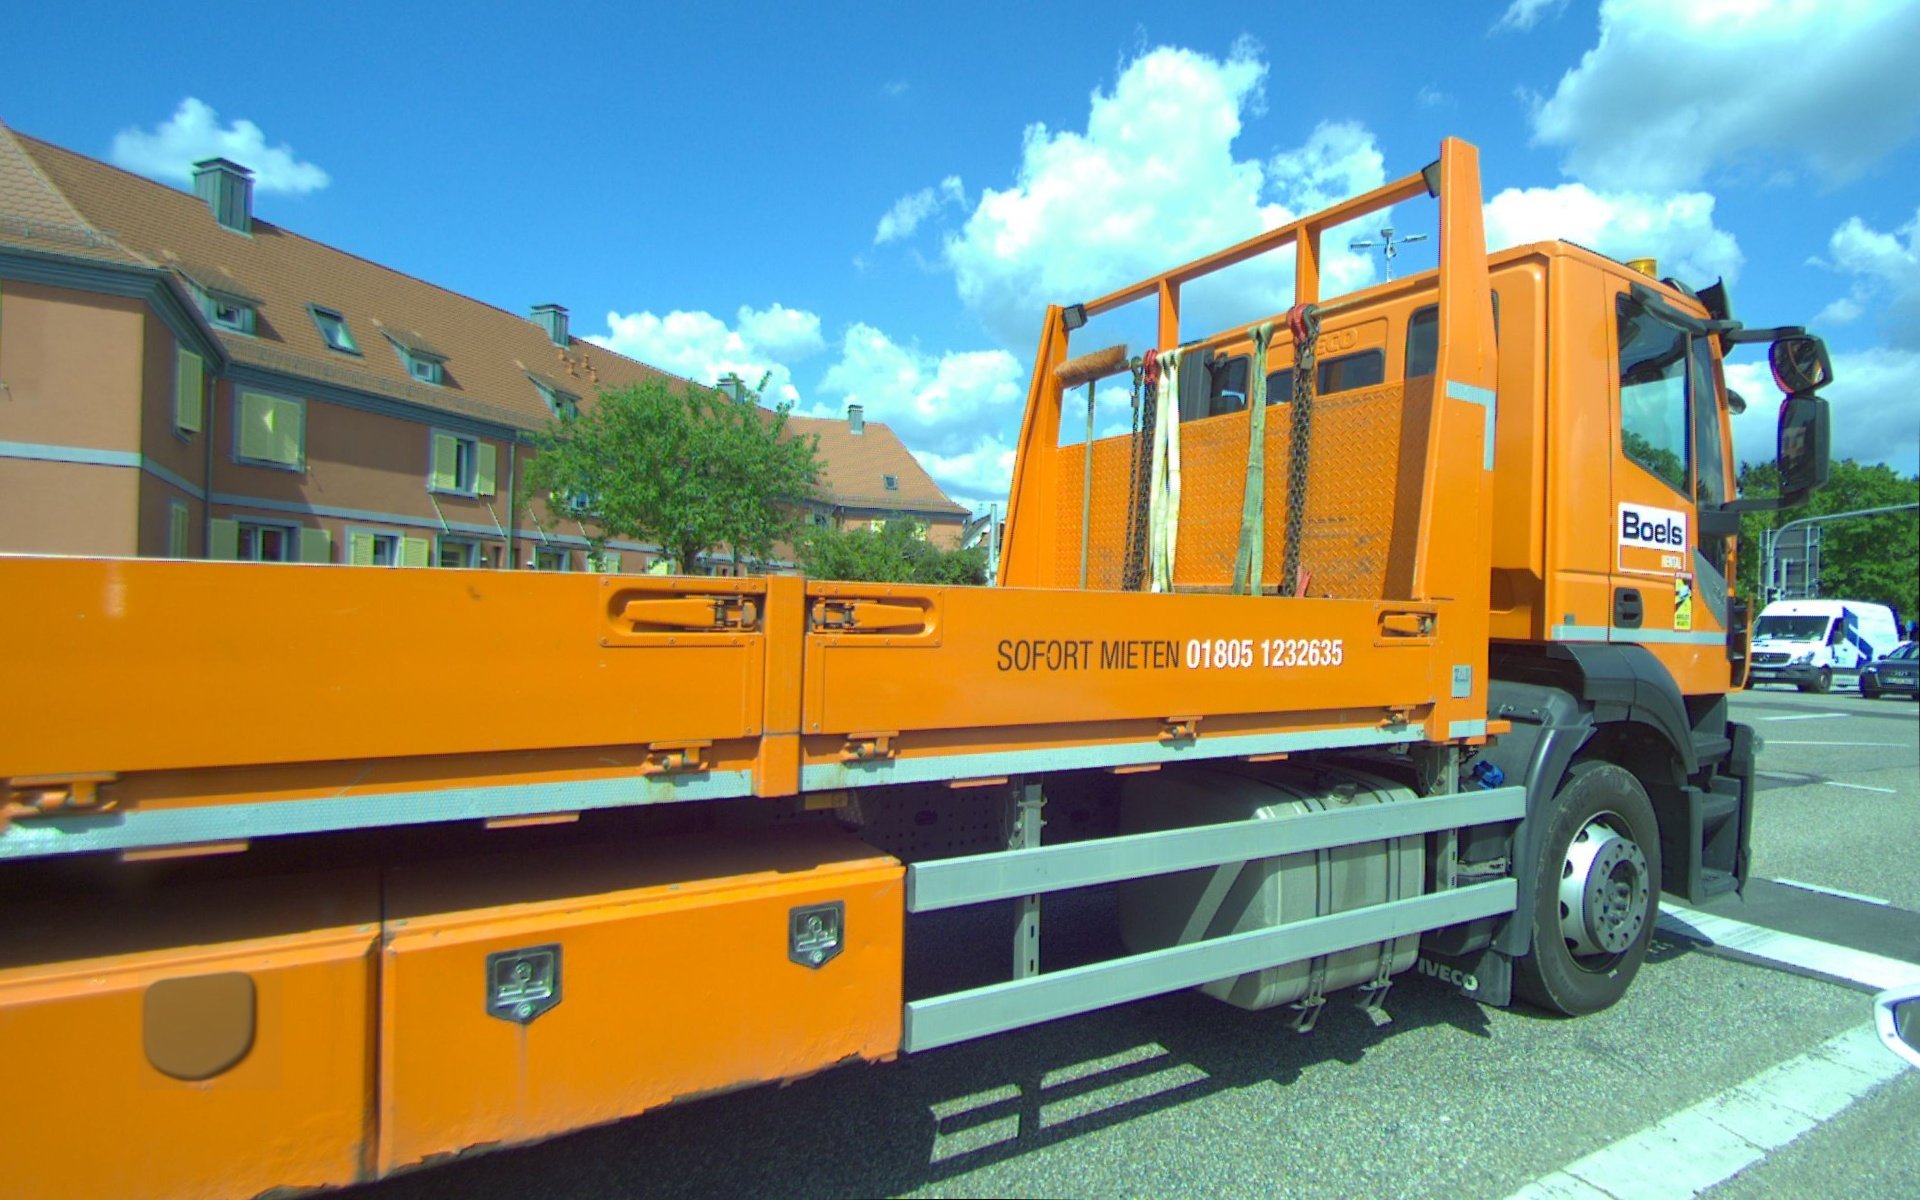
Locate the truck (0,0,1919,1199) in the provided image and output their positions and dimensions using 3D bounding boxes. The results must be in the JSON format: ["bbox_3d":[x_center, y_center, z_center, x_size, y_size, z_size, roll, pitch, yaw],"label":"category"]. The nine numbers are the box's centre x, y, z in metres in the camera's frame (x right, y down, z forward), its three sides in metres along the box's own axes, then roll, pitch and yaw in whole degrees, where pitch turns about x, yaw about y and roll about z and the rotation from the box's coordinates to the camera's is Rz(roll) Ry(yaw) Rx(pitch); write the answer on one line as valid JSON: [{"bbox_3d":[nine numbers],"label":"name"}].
[{"bbox_3d":[-1.622,-0.408,2.666,10.939,3.459,3.056,3,1,-30],"label":"truck"}]

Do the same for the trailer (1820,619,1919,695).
[{"bbox_3d":[28.837,1.742,30.600,5.094,2.040,2.117,3,1,-26],"label":"trailer"}]

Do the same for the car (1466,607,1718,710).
[{"bbox_3d":[11.145,1.025,17.675,4.252,1.564,1.729,3,1,-26],"label":"car"}]

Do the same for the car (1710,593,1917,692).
[{"bbox_3d":[23.932,1.209,28.128,5.889,2.504,2.166,3,1,-26],"label":"car"}]

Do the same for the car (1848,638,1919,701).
[{"bbox_3d":[22.818,1.642,23.741,3.478,1.370,1.755,3,-1,-30],"label":"car"}]
